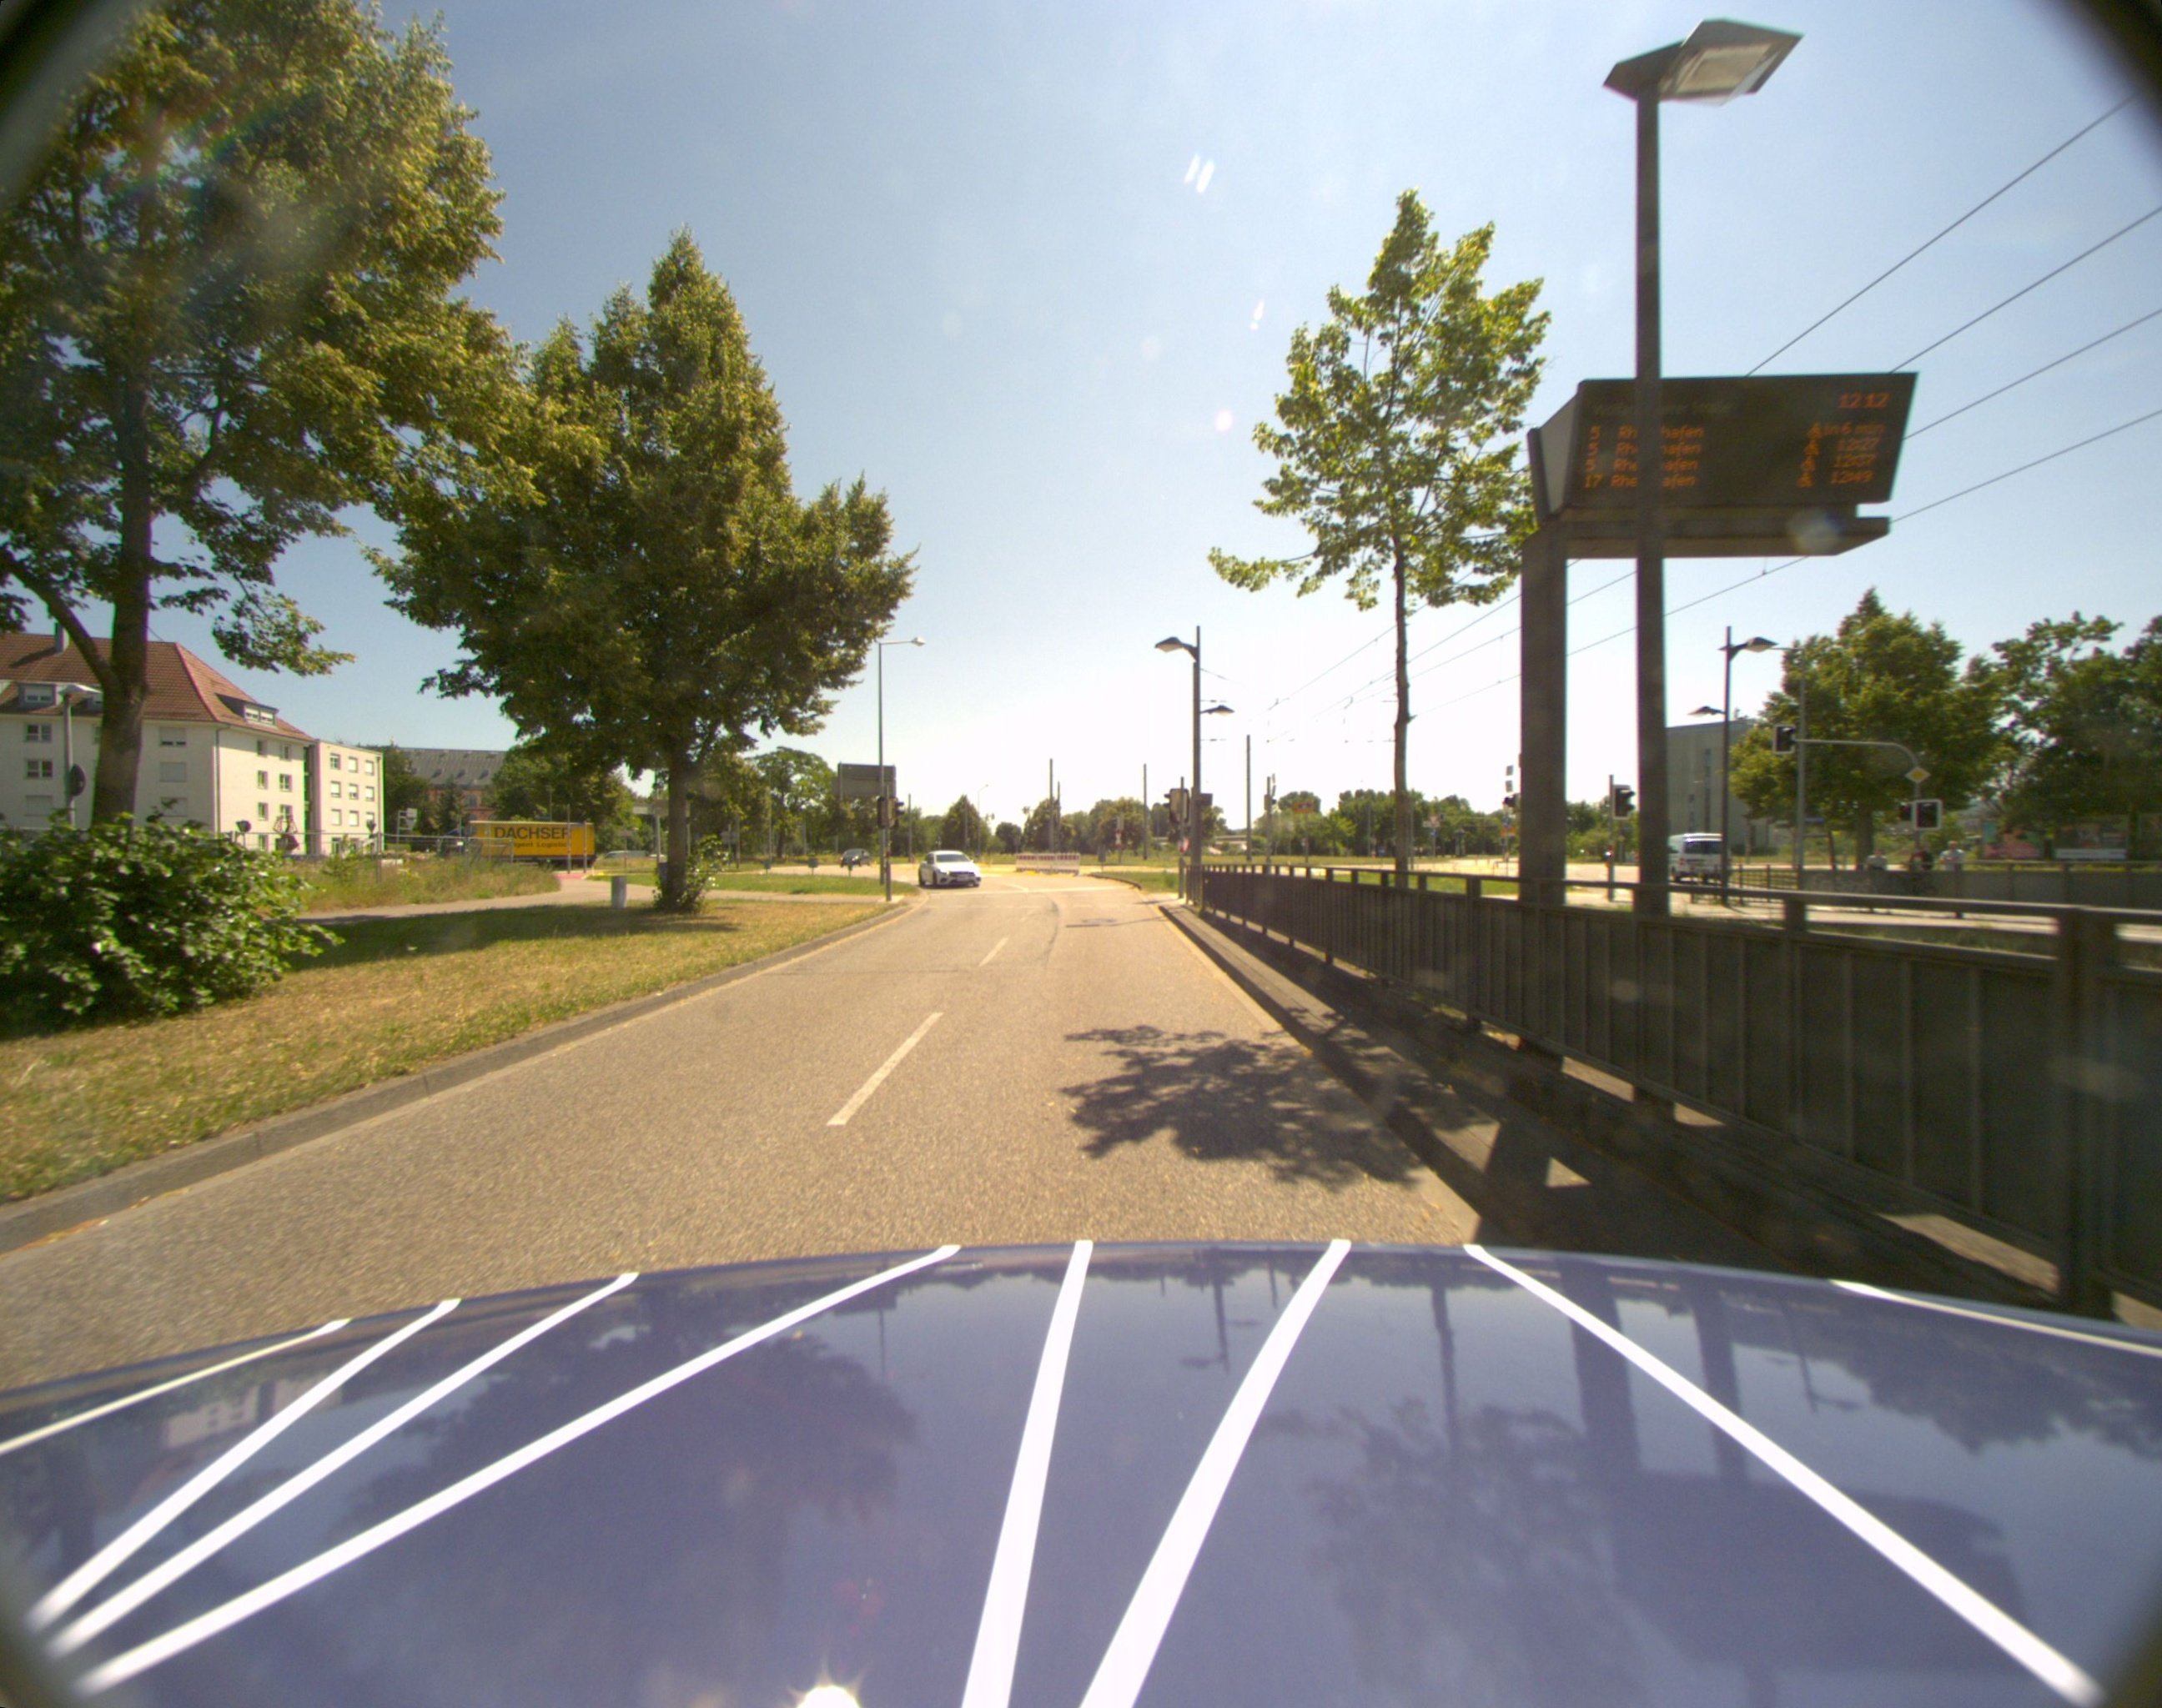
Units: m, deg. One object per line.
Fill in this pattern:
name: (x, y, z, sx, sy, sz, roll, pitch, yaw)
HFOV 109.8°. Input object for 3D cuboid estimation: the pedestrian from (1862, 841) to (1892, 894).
pedestrian: (26.455, 0.436, 25.257, 0.341, 1.729, 0.600, 0, 2, 0)

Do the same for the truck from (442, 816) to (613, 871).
truck: (-39.157, -0.750, 54.135, 9.634, 3.638, 2.700, -1, 1, -38)

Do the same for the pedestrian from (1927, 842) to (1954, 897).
pedestrian: (27.173, 0.484, 24.016, 0.291, 1.729, 0.449, 0, 2, 0)

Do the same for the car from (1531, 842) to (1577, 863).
car: (36.295, -0.119, 58.467, 1.995, 1.509, 5.845, 0, 1, 21)

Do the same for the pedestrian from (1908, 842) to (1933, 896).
pedestrian: (27.111, 0.467, 24.544, 0.291, 1.729, 0.449, 0, 2, 0)

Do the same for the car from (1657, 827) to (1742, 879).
car: (27.395, -0.008, 33.851, 1.995, 2.093, 5.553, -1, -1, 29)

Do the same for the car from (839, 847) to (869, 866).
car: (-18.394, 0.185, 61.748, 1.980, 1.410, 3.995, -1, 1, -12)

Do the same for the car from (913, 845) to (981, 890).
car: (-5.480, 0.498, 30.783, 1.783, 1.537, 3.954, -3, 3, -24)
